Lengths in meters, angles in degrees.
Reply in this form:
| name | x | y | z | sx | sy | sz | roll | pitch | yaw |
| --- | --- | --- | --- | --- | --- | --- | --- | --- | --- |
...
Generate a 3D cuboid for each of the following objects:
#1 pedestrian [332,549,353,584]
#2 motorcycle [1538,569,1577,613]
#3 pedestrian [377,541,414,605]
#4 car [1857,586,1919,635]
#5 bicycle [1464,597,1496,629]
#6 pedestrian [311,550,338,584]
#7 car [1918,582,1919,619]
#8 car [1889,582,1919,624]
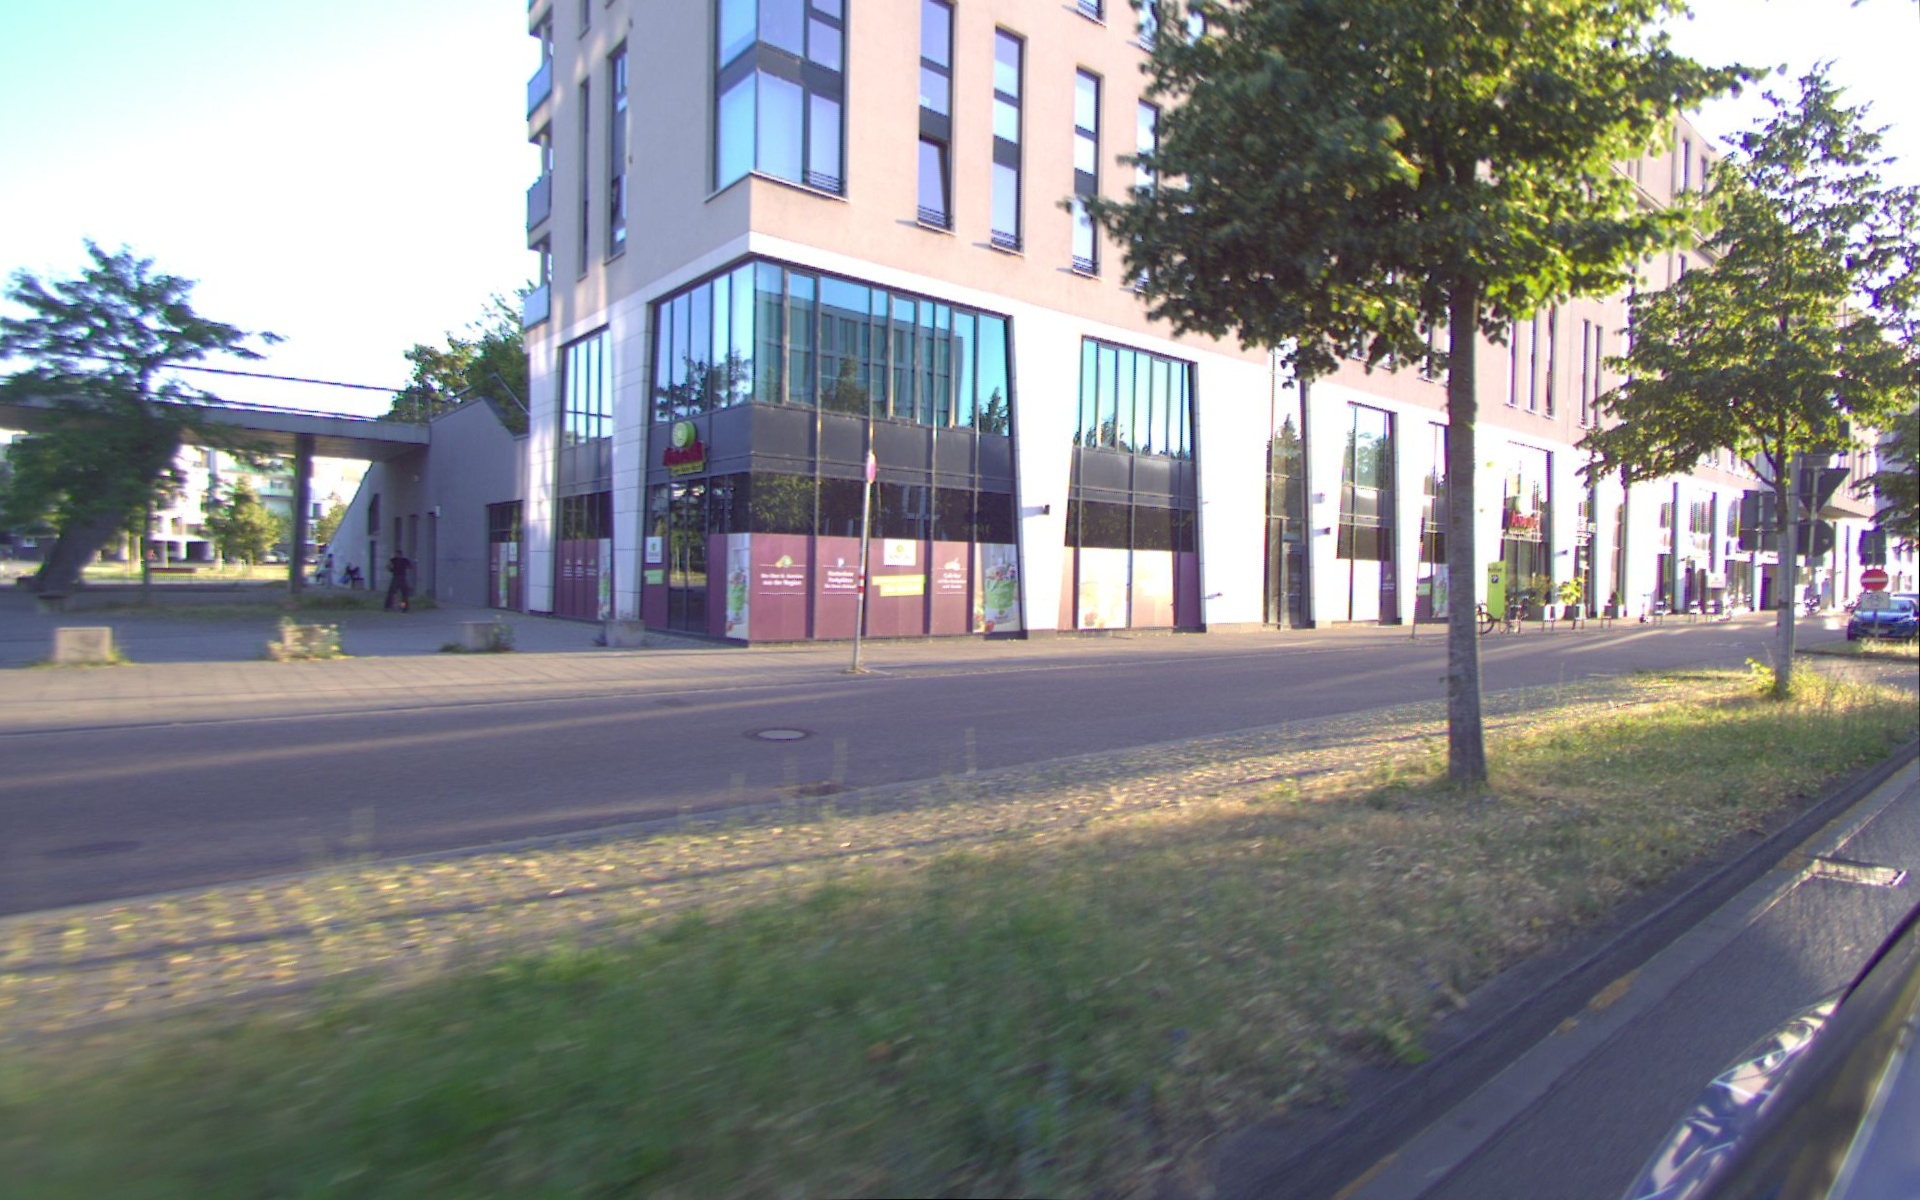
| name | x | y | z | sx | sy | sz | roll | pitch | yaw |
| --- | --- | --- | --- | --- | --- | --- | --- | --- | --- |
| pedestrian | -28.698 | -1.558 | 47.032 | 0.782 | 1.614 | 0.717 | 0 | 1 | -34 |
| motorcycle | 23.854 | -0.352 | 40.376 | 2.086 | 1.720 | 0.690 | 0 | 2 | -41 |
| pedestrian | -15.430 | -0.743 | 27.657 | 0.751 | 1.703 | 0.767 | 0 | 1 | -38 |
| car | 31.124 | 0.310 | 33.228 | 3.930 | 1.482 | 1.997 | 0 | 2 | -41 |
| bicycle | 15.006 | 0.362 | 29.225 | 0.539 | 0.872 | 1.569 | 1 | 2 | 17 |
| pedestrian | -30.015 | -1.559 | 47.797 | 0.710 | 1.614 | 0.791 | 1 | 1 | 25 |
| car | 44.495 | 0.053 | 45.259 | 3.930 | 1.624 | 1.997 | 0 | 2 | -41 |
| car | 39.228 | 0.122 | 40.935 | 3.930 | 1.624 | 1.997 | 0 | 2 | -41 |
